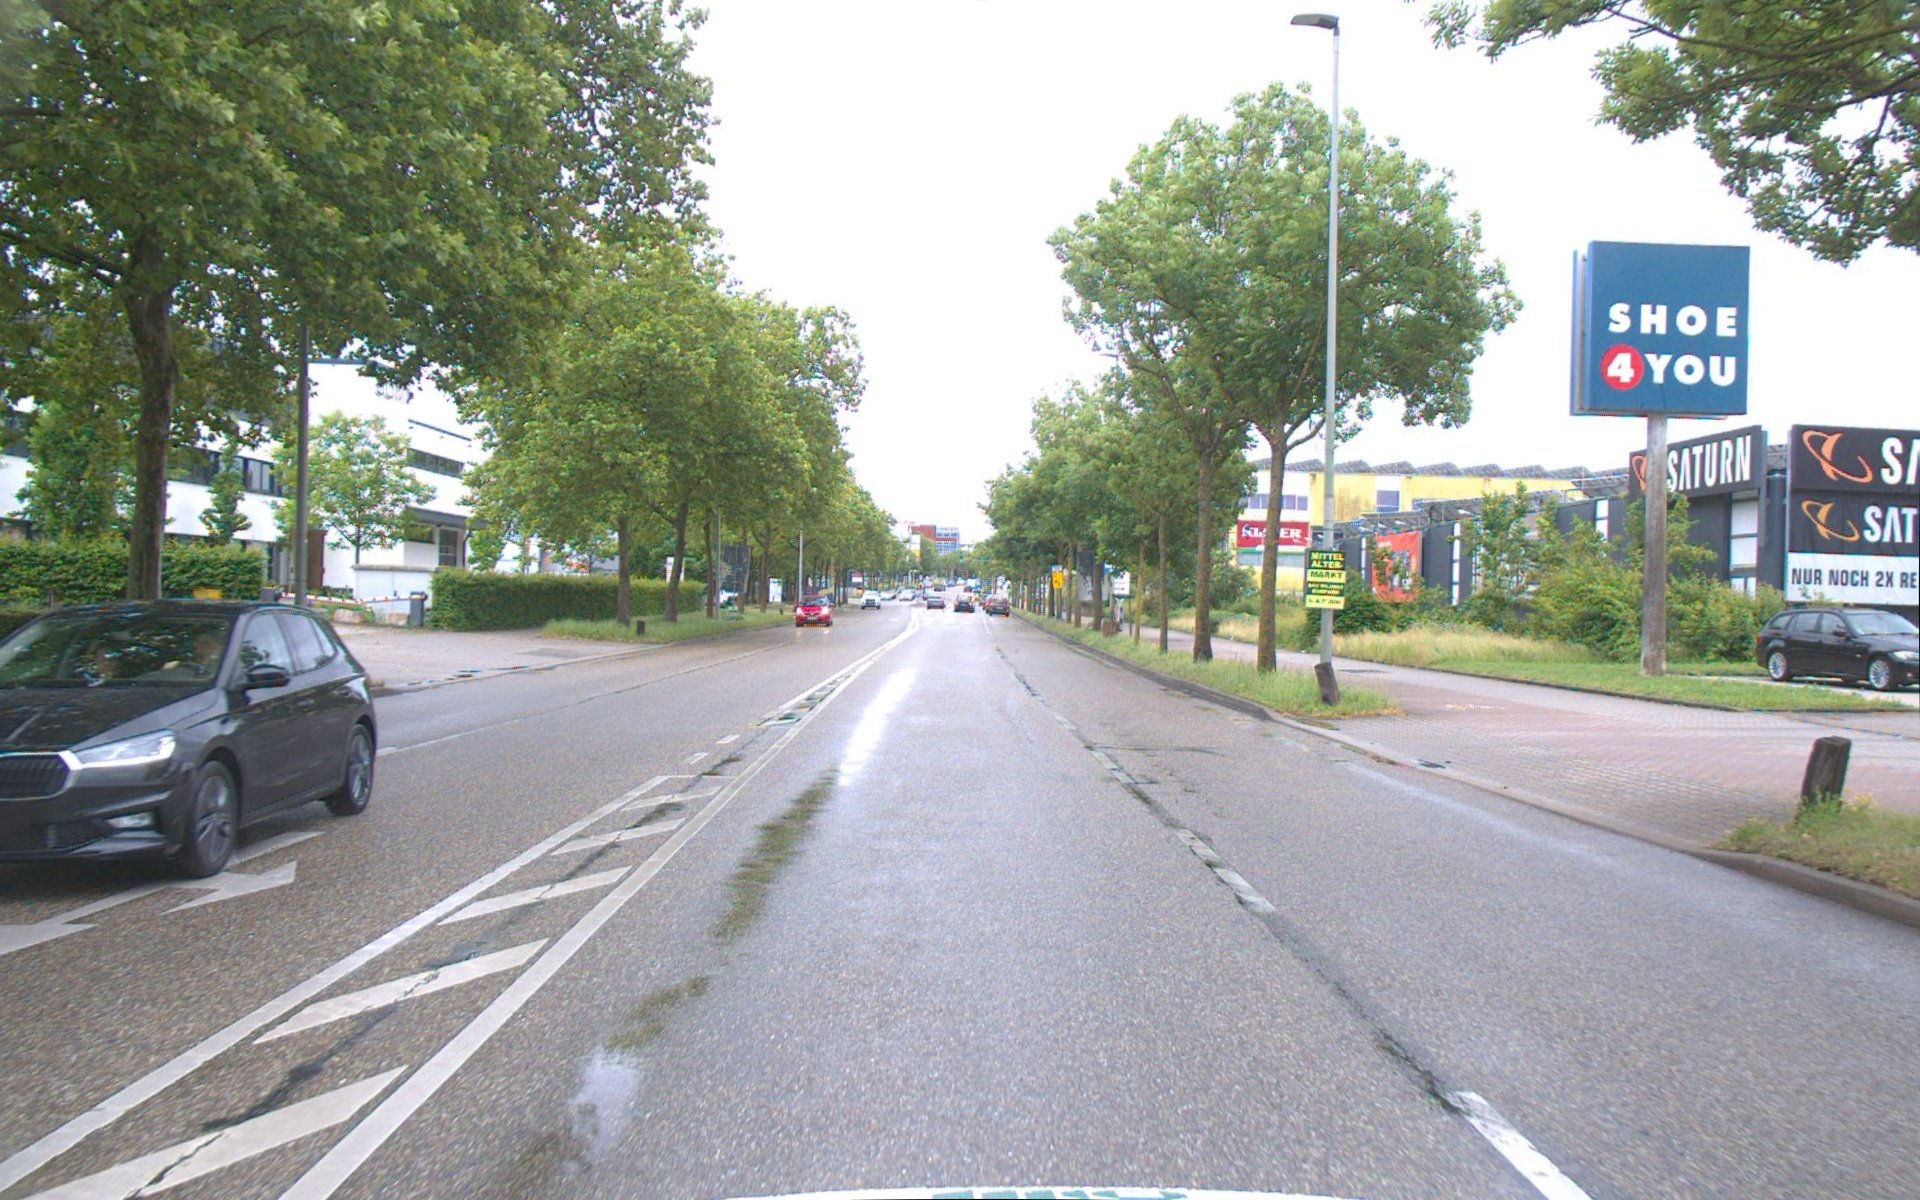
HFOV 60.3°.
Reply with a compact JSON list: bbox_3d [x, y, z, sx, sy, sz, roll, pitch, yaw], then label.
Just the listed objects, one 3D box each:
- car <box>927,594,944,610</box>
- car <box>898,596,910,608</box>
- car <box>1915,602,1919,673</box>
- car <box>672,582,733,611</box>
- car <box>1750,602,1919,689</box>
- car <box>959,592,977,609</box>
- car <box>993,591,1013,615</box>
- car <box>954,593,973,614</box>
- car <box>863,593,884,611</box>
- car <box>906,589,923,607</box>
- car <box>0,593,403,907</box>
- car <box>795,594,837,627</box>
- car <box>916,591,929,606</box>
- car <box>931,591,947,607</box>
[{"bbox_3d":[-2.713,0.216,183.786,1.709,1.730,4.001,0,0,1],"label":"car"},{"bbox_3d":[-8.372,0.277,249.191,1.790,1.758,3.998,0,0,-2],"label":"car"},{"bbox_3d":[21.441,0.826,32.599,1.846,1.494,4.942,1,0,-9],"label":"car"},{"bbox_3d":[-17.673,-0.258,113.540,3.905,1.958,1.826,0,-1,0],"label":"car"},{"bbox_3d":[16.653,0.789,30.565,1.548,1.453,4.257,1,0,-9],"label":"car"},{"bbox_3d":[0.860,0.088,174.573,1.709,1.767,4.001,0,0,1],"label":"car"},{"bbox_3d":[3.773,0.257,146.366,1.709,2.049,4.001,0,0,1],"label":"car"},{"bbox_3d":[0.348,0.362,161.157,1.709,2.049,4.001,0,0,1],"label":"car"},{"bbox_3d":[-8.634,0.176,165.210,1.669,1.767,4.001,0,0,2],"label":"car"},{"bbox_3d":[-5.419,-0.230,197.034,1.953,2.049,3.999,0,0,-1],"label":"car"},{"bbox_3d":[-4.756,0.713,9.781,1.768,1.488,3.843,0,0,-3],"label":"car"},{"bbox_3d":[-7.083,0.504,81.564,1.690,1.544,3.821,0,0,0],"label":"car"},{"bbox_3d":[-5.140,-0.214,225.739,1.790,2.049,3.998,0,0,-2],"label":"car"},{"bbox_3d":[-2.539,-0.075,198.563,1.852,1.909,4.123,0,0,0],"label":"car"}]
